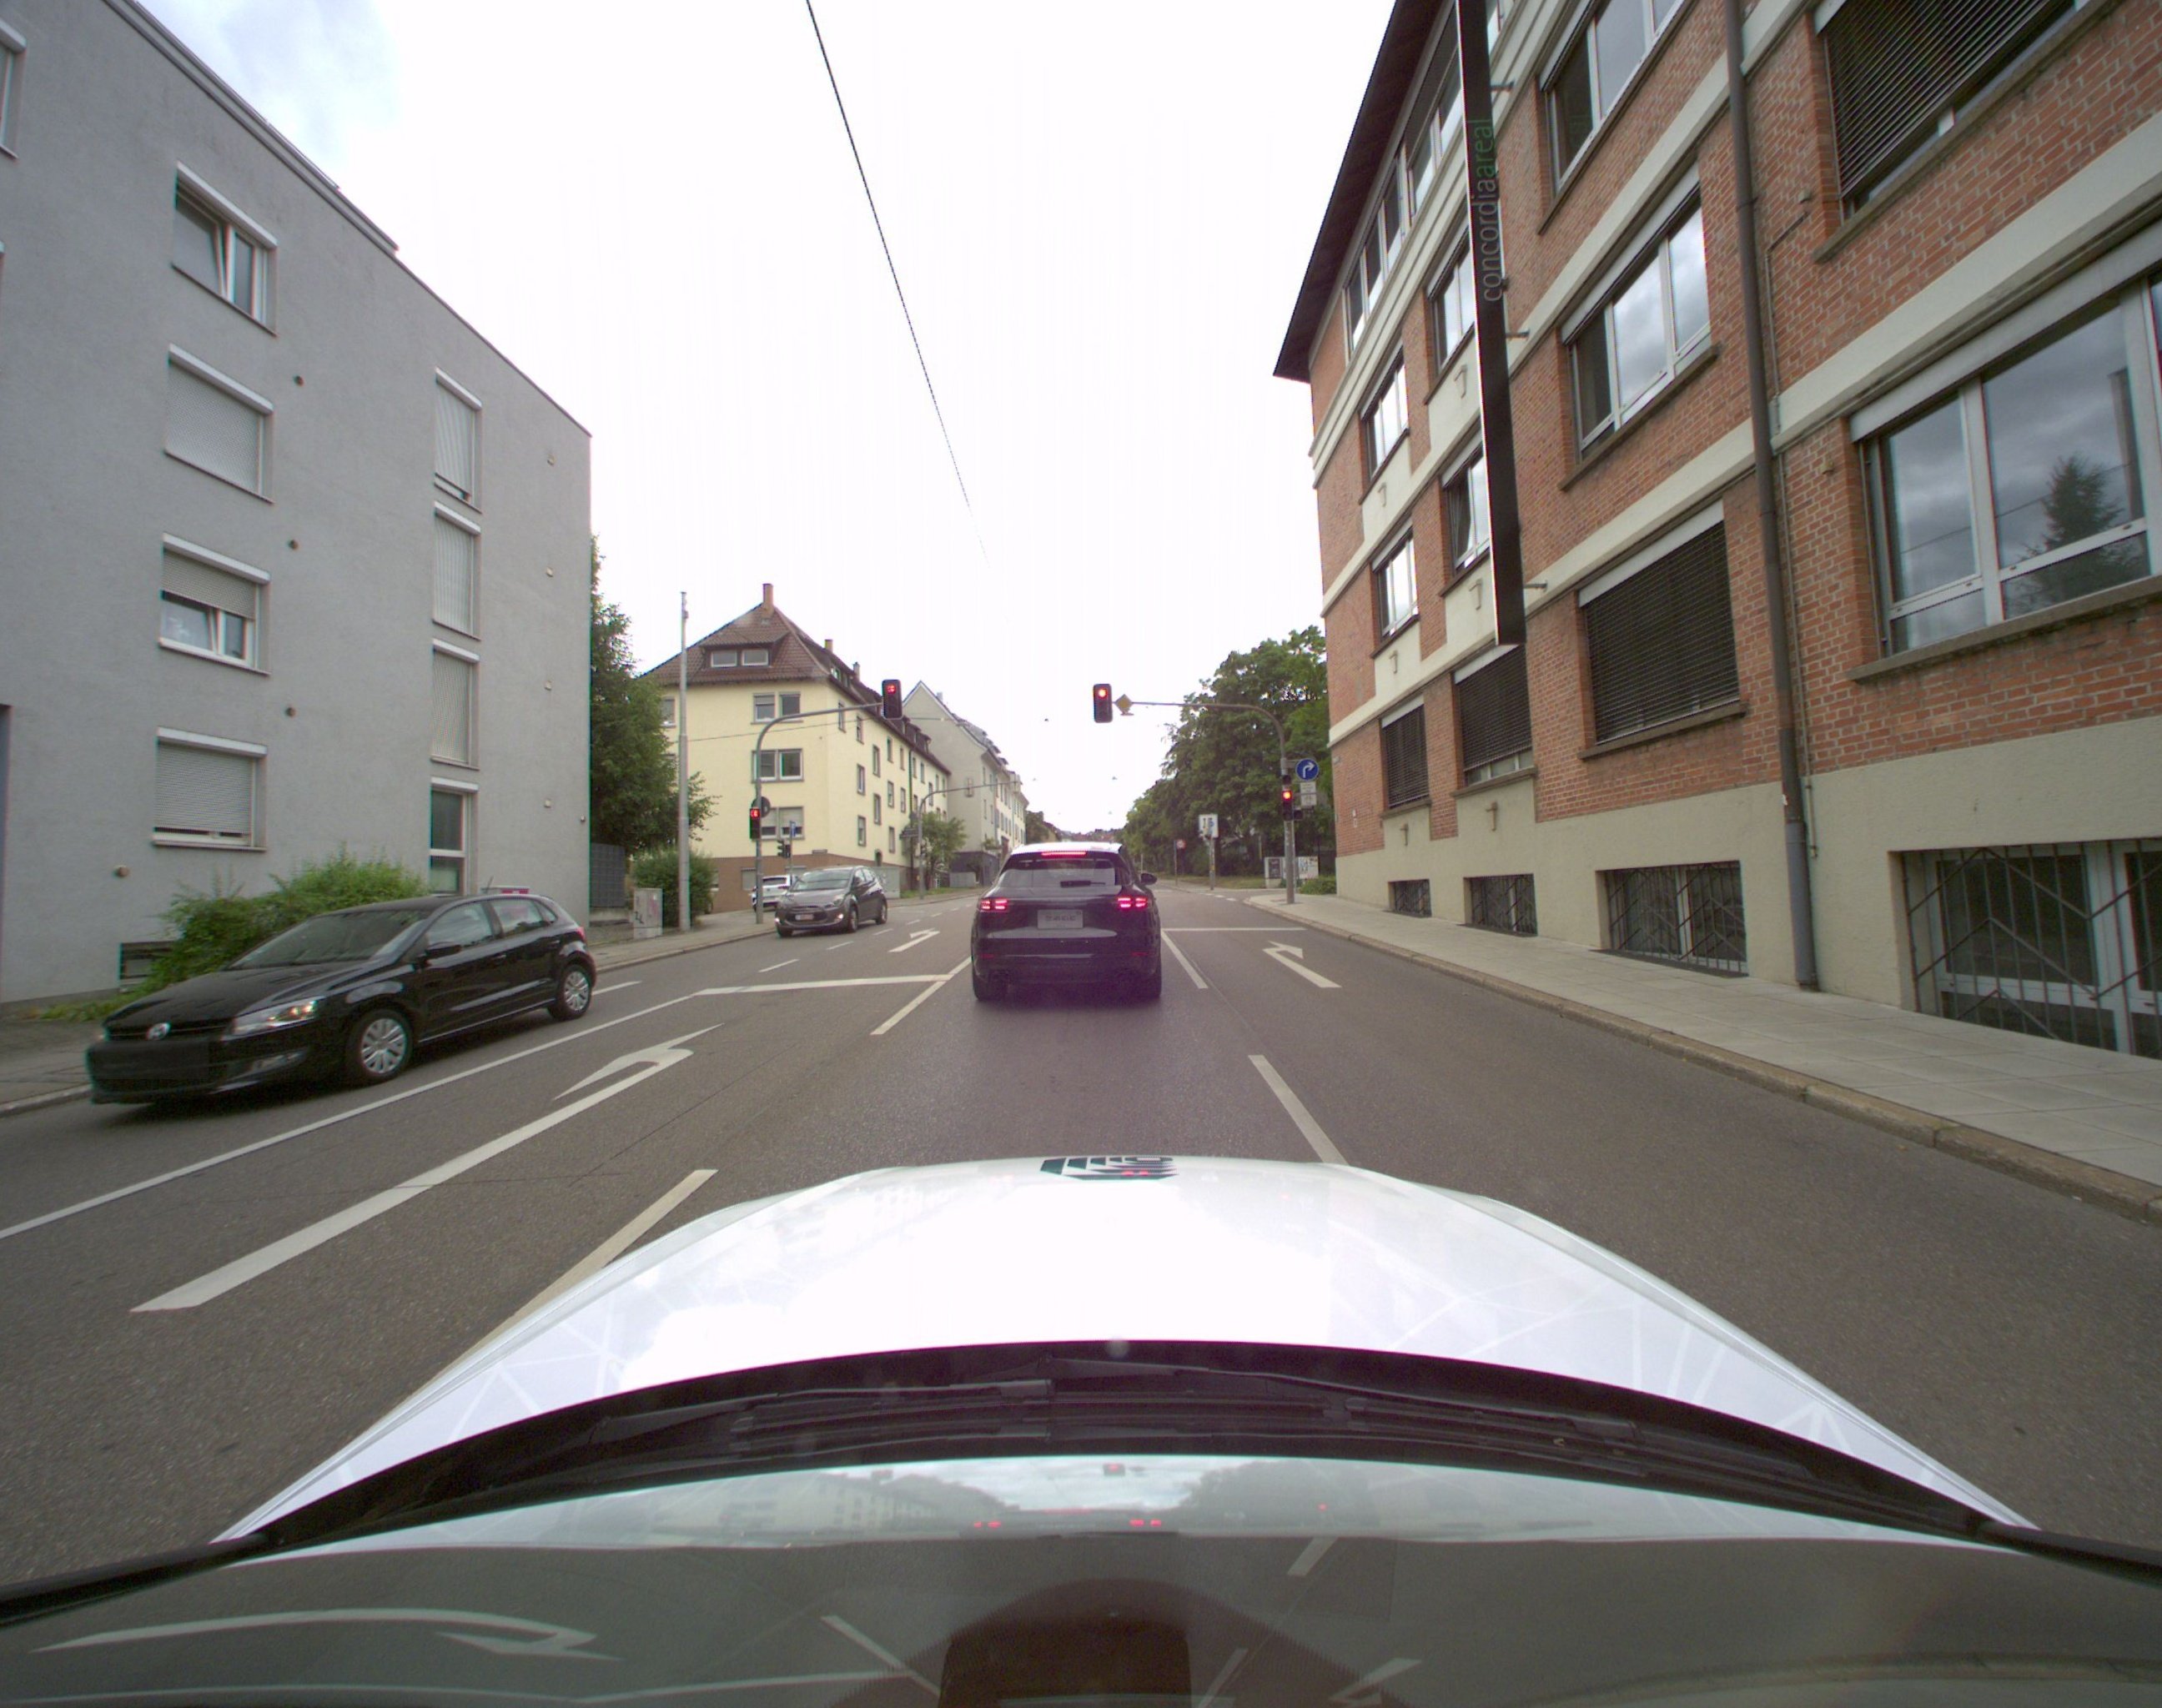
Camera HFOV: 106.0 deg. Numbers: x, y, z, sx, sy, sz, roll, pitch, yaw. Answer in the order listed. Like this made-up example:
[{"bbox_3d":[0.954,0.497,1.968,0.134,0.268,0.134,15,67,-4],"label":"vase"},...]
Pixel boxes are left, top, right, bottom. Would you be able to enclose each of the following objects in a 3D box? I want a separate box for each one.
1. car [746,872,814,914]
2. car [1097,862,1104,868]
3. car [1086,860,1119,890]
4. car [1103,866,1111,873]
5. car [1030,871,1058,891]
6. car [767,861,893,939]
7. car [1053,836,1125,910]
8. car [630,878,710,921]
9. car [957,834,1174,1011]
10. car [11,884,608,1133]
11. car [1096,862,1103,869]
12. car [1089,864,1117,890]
[{"bbox_3d":[-13.496,1.717,36.703,1.686,1.555,3.763,-4,0,-2],"label":"car"},{"bbox_3d":[5.105,2.843,212.993,1.820,1.605,4.137,0,0,2],"label":"car"},{"bbox_3d":[1.249,1.161,46.540,1.820,1.605,4.137,0,0,2],"label":"car"},{"bbox_3d":[5.905,3.563,185.151,1.820,1.605,4.137,0,0,2],"label":"car"},{"bbox_3d":[-2.979,2.155,65.756,1.778,1.418,4.672,-4,-1,2],"label":"car"},{"bbox_3d":[-6.083,1.049,20.212,1.697,1.587,3.938,-4,0,1],"label":"car"},{"bbox_3d":[0.300,0.534,24.632,1.957,2.042,4.137,0,0,2],"label":"car"},{"bbox_3d":[-18.410,2.011,36.684,1.686,1.608,3.763,-4,0,-2],"label":"car"},{"bbox_3d":[-0.074,0.646,9.836,2.040,1.666,4.269,0,0,2],"label":"car"},{"bbox_3d":[-6.288,1.106,7.375,1.668,1.400,3.794,-4,0,0],"label":"car"},{"bbox_3d":[4.688,2.883,205.671,1.820,1.605,4.137,0,0,2],"label":"car"},{"bbox_3d":[1.535,1.523,55.251,1.820,1.605,3.861,0,0,2],"label":"car"}]
